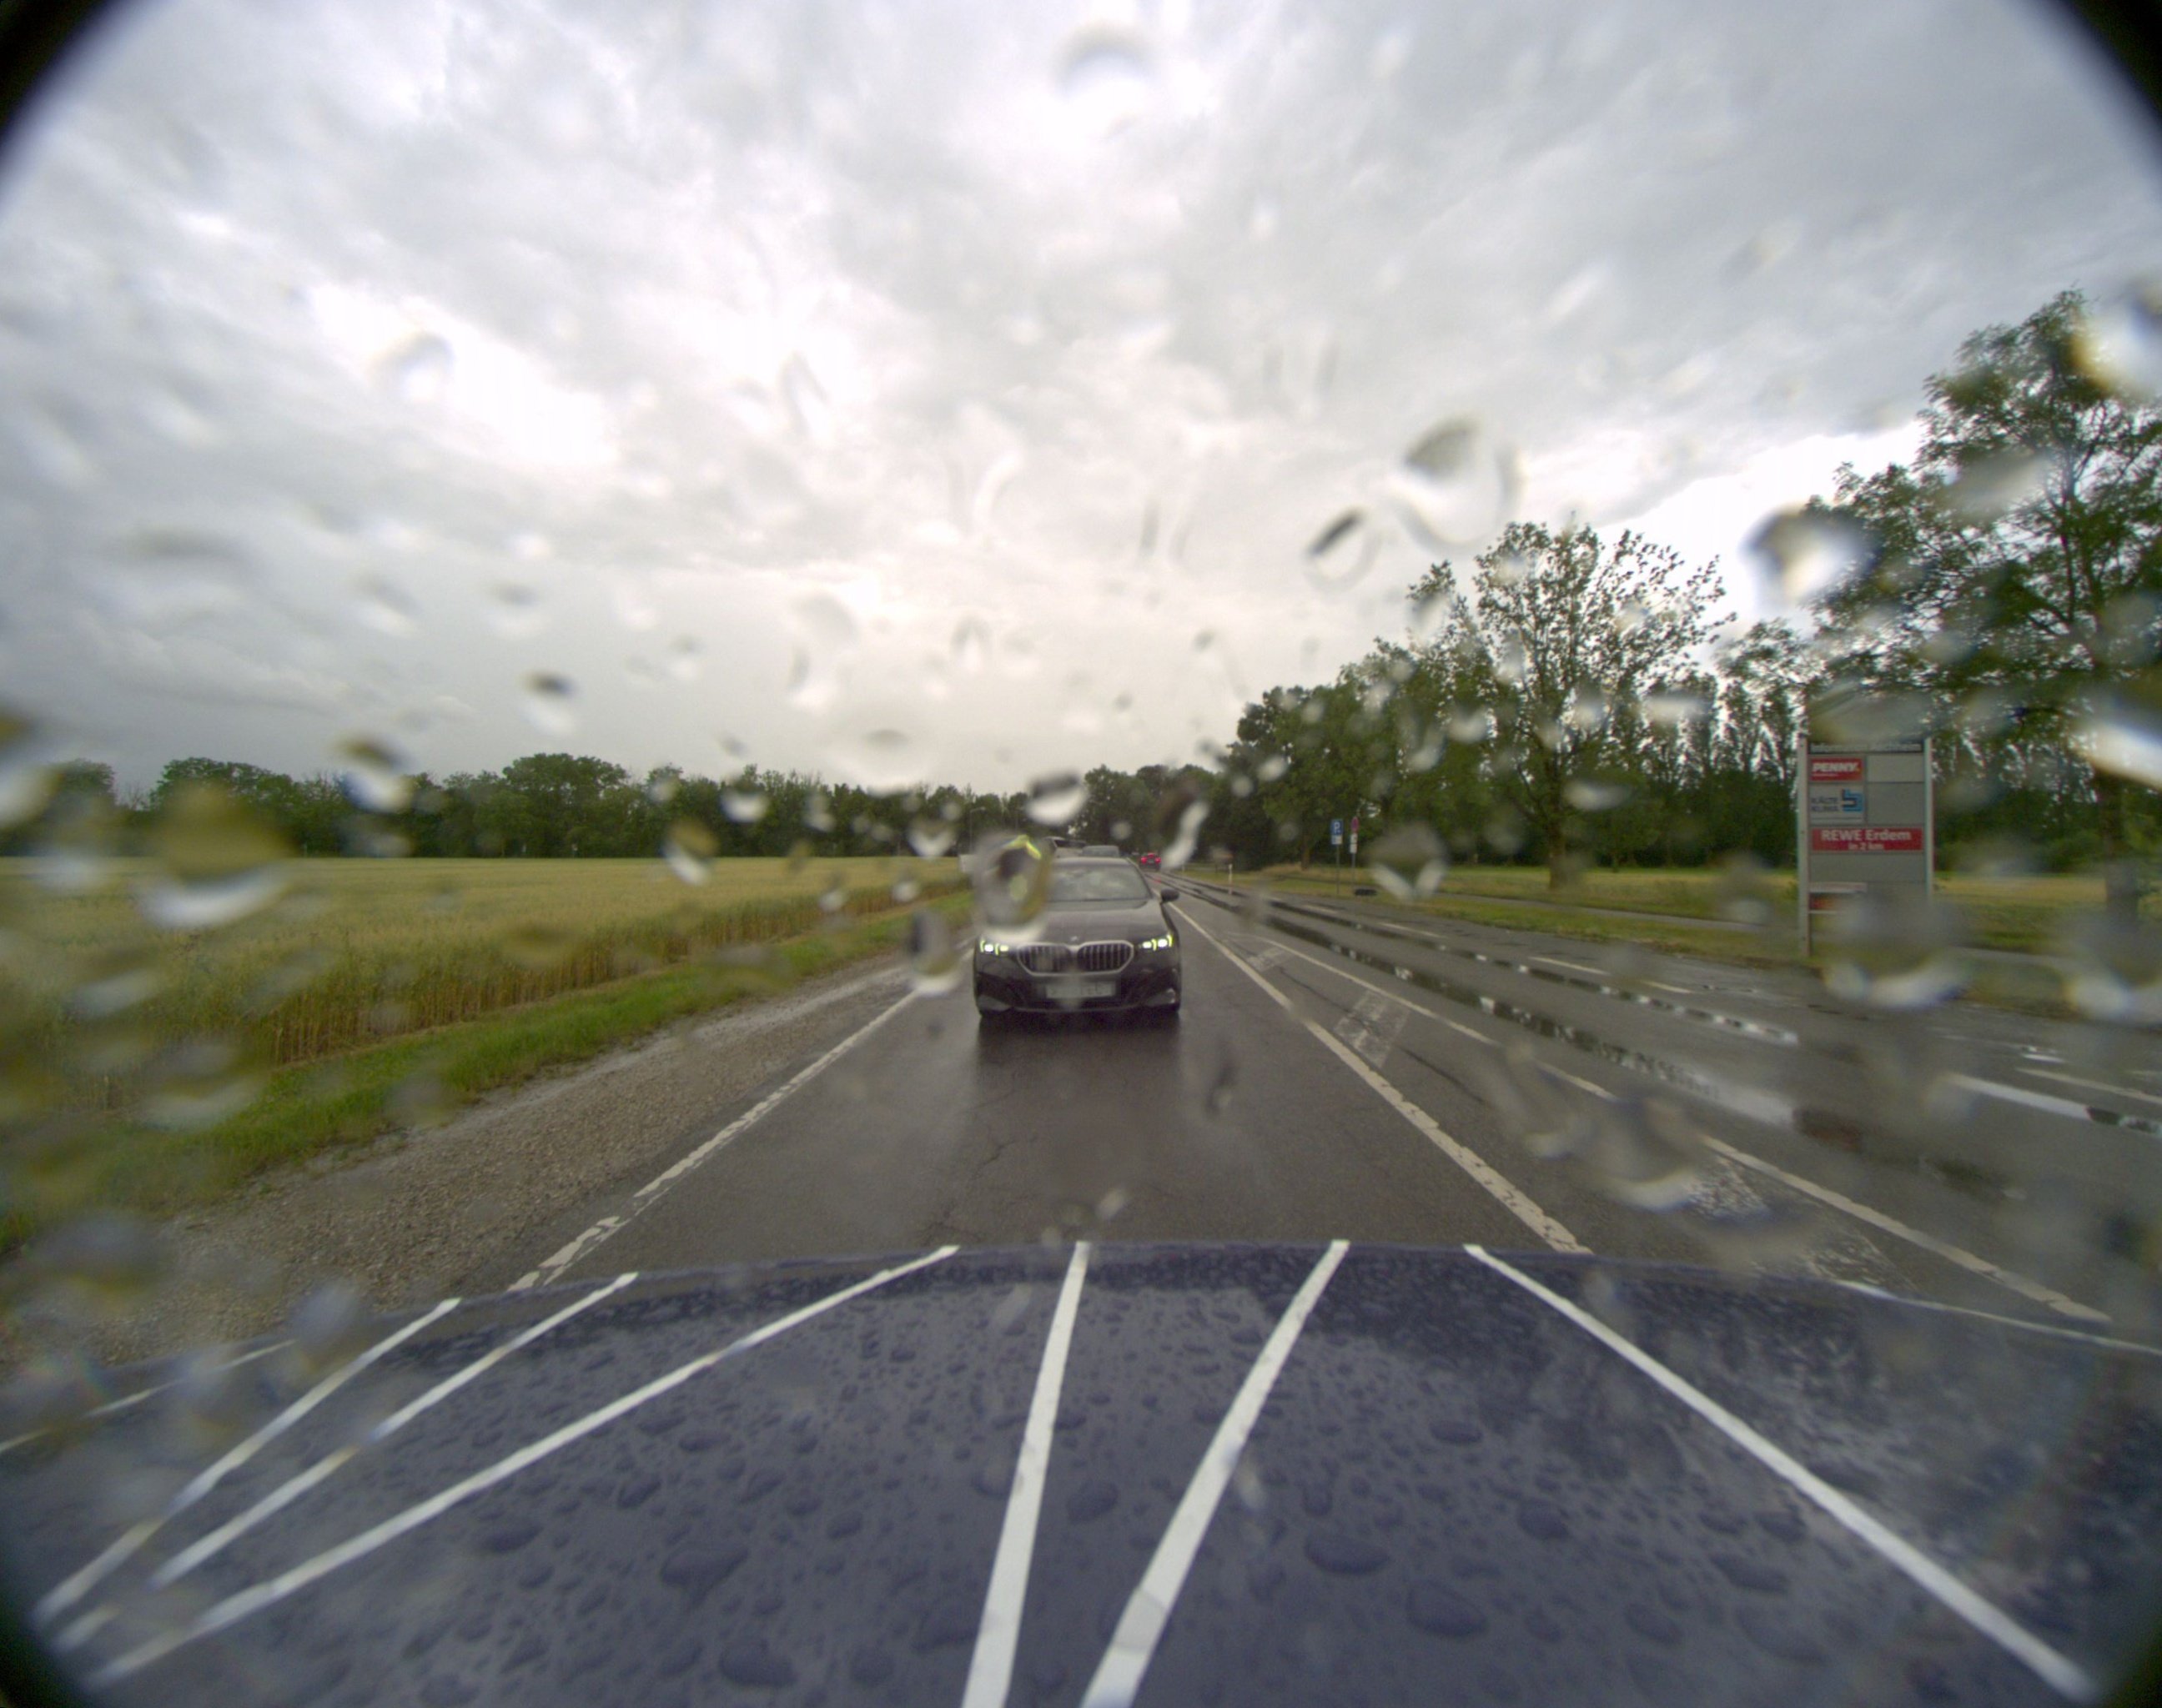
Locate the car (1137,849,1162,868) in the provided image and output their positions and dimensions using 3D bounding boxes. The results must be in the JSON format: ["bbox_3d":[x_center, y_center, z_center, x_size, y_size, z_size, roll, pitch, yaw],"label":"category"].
[{"bbox_3d":[6.237,0.381,69.641,1.921,1.622,4.357,0,1,1],"label":"car"}]

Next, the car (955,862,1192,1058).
[{"bbox_3d":[0.009,0.891,8.189,1.891,1.484,4.036,-1,0,2],"label":"car"}]

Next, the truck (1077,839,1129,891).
[{"bbox_3d":[0.904,0.431,34.067,2.075,2.050,5.769,-3,1,0],"label":"truck"}]

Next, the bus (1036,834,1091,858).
[{"bbox_3d":[-2.439,-1.241,114.687,2.851,3.417,14.316,1,1,22],"label":"bus"}]

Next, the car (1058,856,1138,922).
[{"bbox_3d":[0.483,0.864,20.636,1.891,1.482,4.192,-2,1,2],"label":"car"}]

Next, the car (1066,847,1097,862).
[{"bbox_3d":[0.027,0.071,79.133,1.894,1.522,4.495,-2,0,-18],"label":"car"}]

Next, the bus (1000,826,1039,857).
[{"bbox_3d":[-7.664,-1.539,97.667,2.995,3.665,14.296,0,1,3],"label":"bus"}]
